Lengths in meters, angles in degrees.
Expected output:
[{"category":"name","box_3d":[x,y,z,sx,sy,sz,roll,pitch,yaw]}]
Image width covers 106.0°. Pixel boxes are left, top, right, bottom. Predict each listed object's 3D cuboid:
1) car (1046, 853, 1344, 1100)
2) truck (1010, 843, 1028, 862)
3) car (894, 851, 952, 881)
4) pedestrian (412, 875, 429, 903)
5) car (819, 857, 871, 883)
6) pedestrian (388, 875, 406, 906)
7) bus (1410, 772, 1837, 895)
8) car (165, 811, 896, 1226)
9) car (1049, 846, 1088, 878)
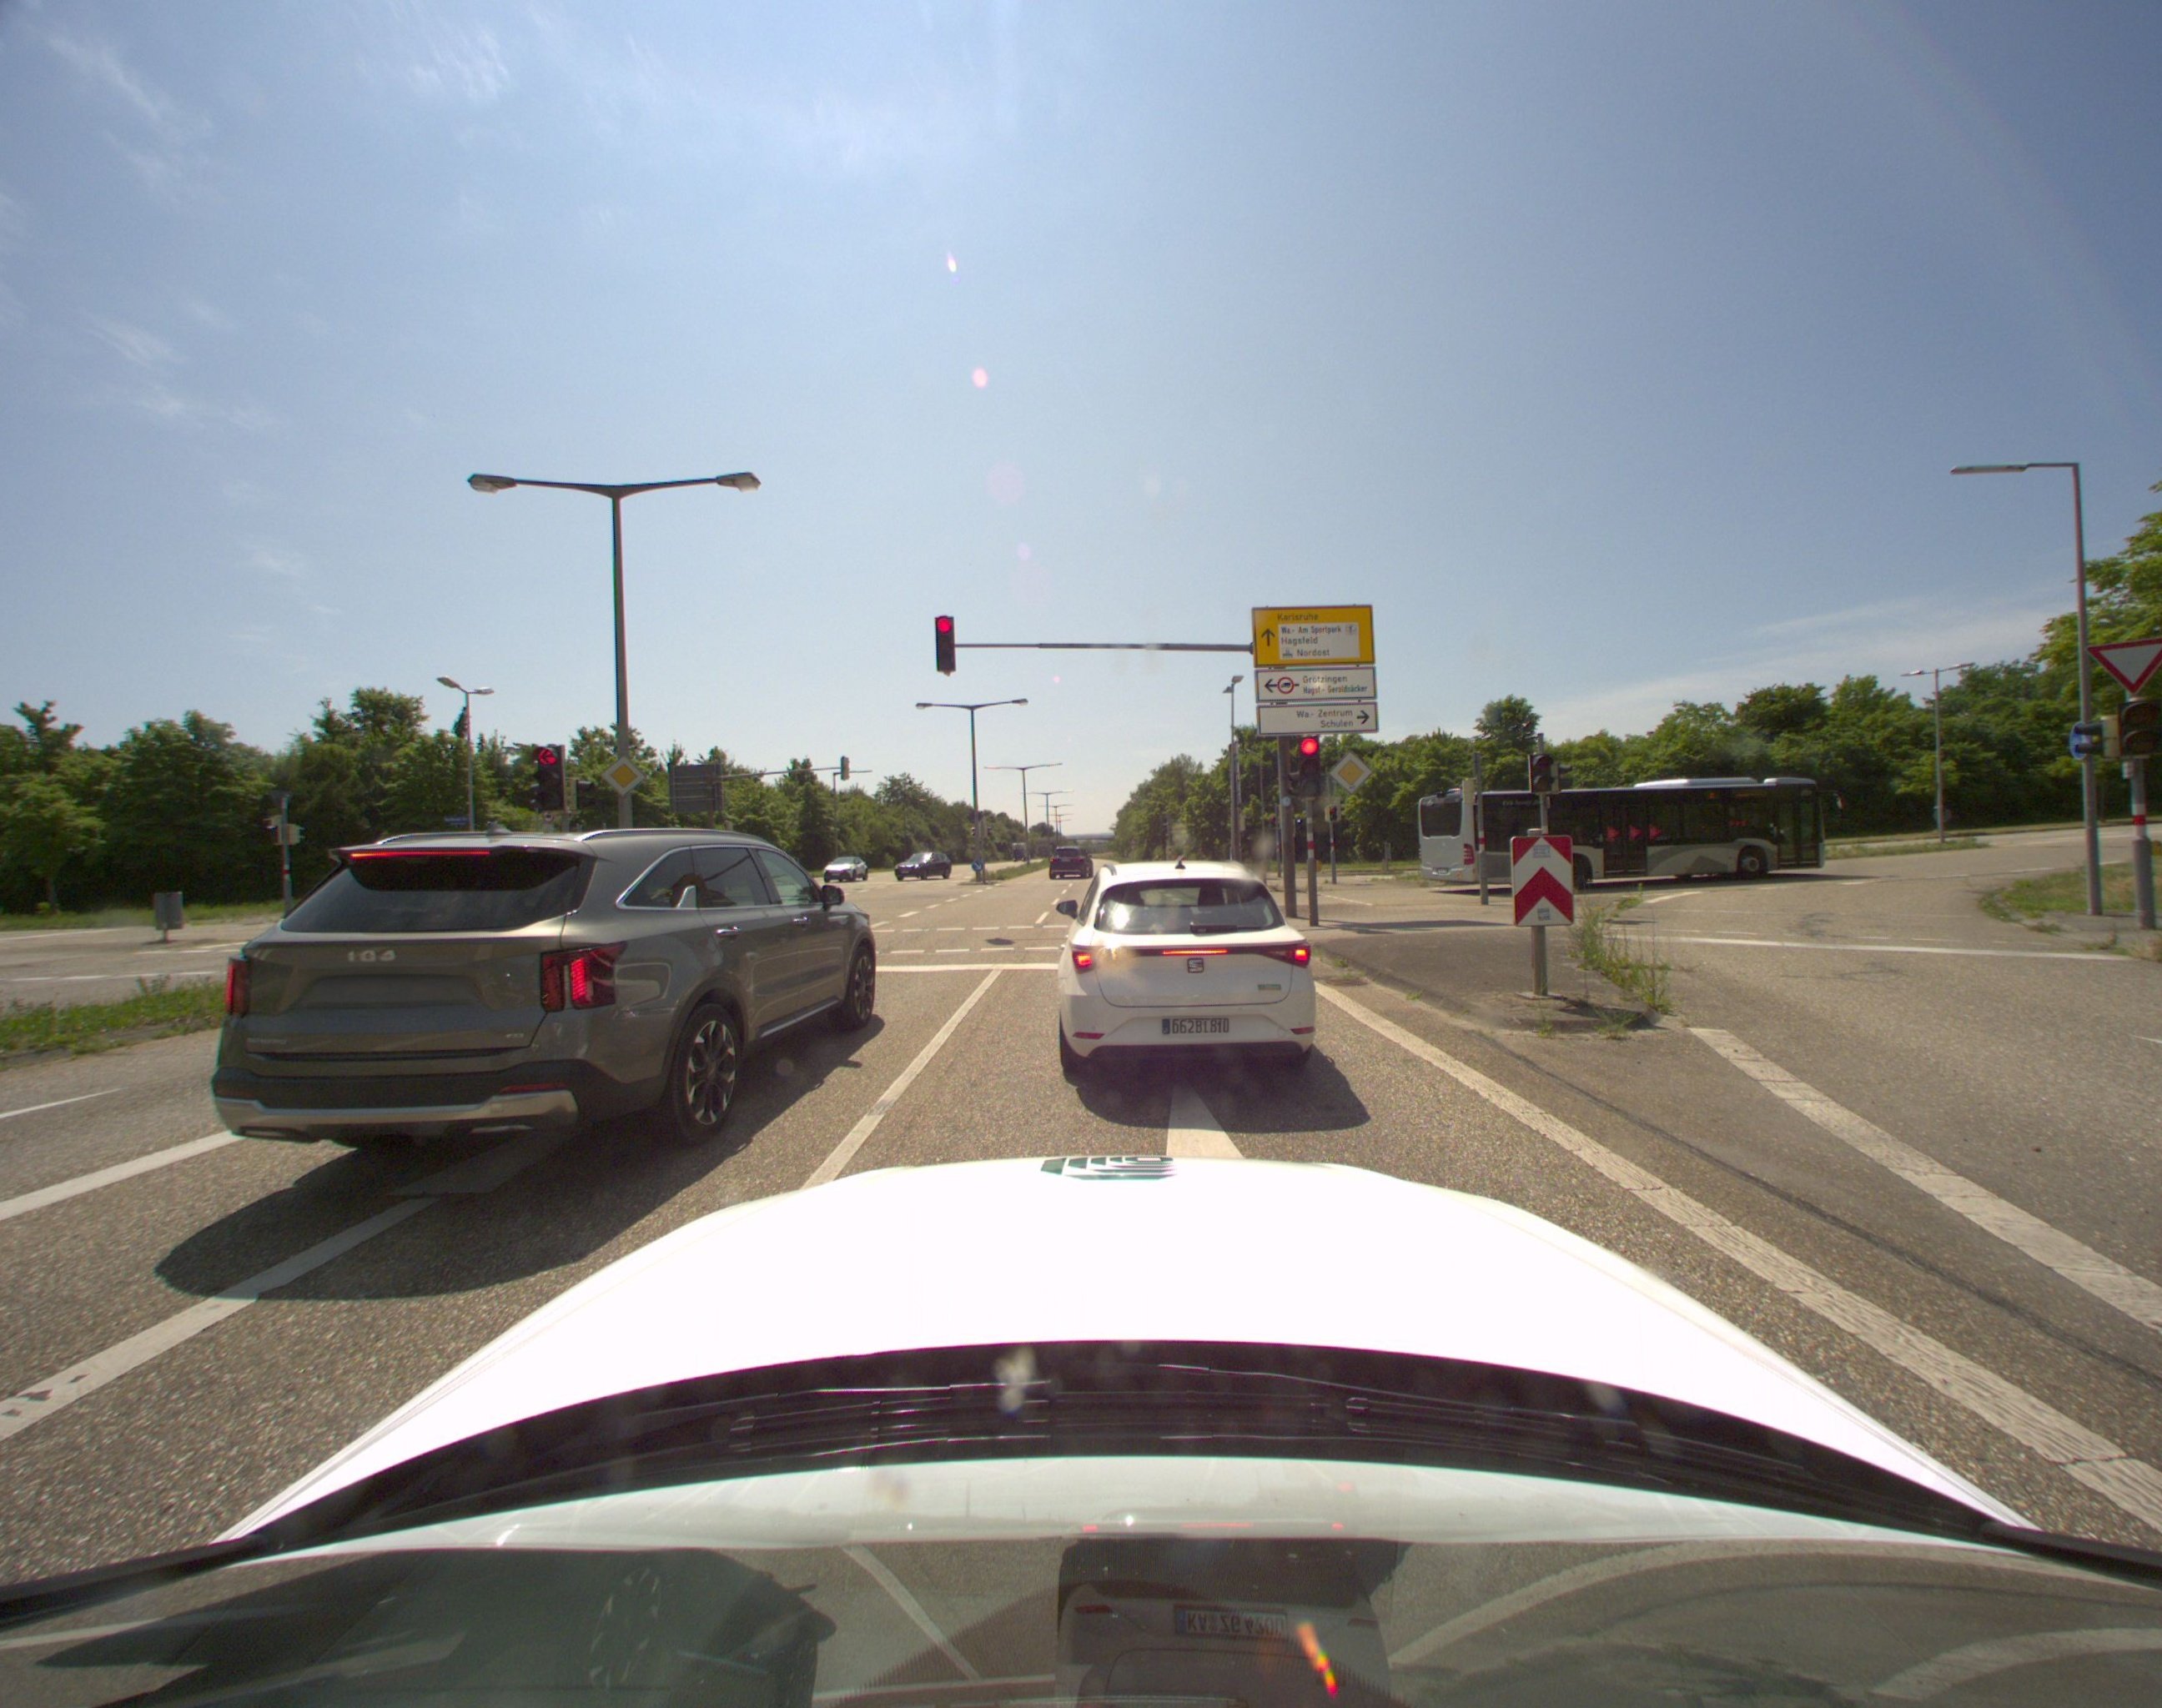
[{"category":"car","box_3d":[0.723,0.730,6.604,1.728,1.428,3.696,0,-1,2]},{"category":"truck","box_3d":[-12.018,-0.237,159.113,2.677,3.570,7.269,-2,0,1]},{"category":"car","box_3d":[-9.781,0.720,50.662,1.693,1.663,4.242,-2,0,17]},{"category":"pedestrian","box_3d":[-36.633,1.952,45.152,0.620,1.503,0.790,-2,0,-34]},{"category":"car","box_3d":[-14.709,0.952,50.931,1.815,1.455,4.171,-2,0,2]},{"category":"pedestrian","box_3d":[-37.507,1.989,44.662,0.620,1.603,0.790,-2,0,-34]},{"category":"bus","box_3d":[16.180,-0.665,24.411,12.038,3.086,2.623,-2,0,-9]},{"category":"car","box_3d":[-2.822,0.685,5.701,1.797,1.662,4.646,-2,0,2]},{"category":"car","box_3d":[-0.647,0.435,46.451,1.847,1.709,4.004,-2,0,4]}]
